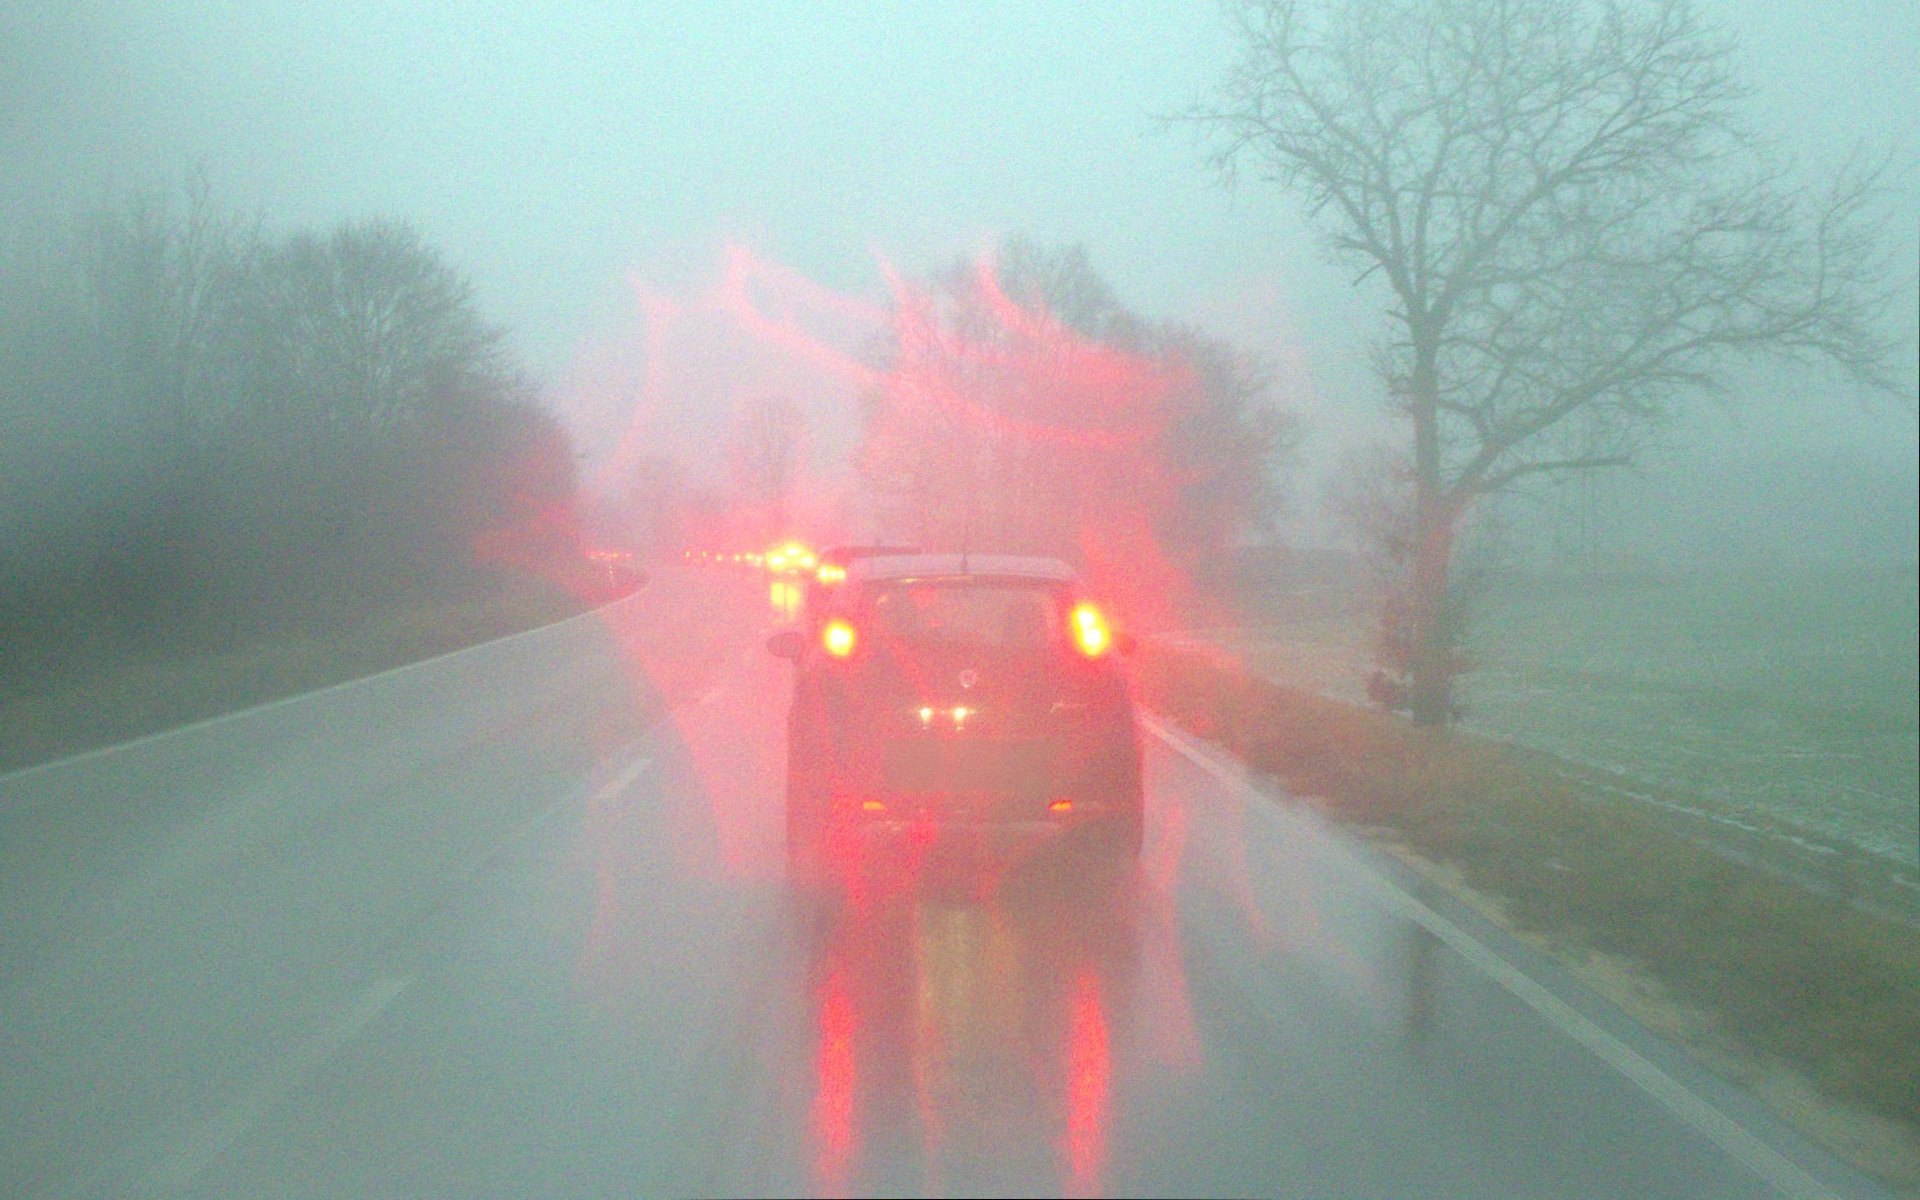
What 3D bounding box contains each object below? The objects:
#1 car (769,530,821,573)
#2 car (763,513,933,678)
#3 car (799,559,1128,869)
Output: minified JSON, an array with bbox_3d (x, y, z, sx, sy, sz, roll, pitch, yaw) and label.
[{"bbox_3d":[-6.711,-1.998,140.000,1.863,1.694,4.468,0,1,1],"label":"car"},{"bbox_3d":[-1.389,-0.086,44.166,1.852,2.007,4.000,1,1,3],"label":"car"},{"bbox_3d":[0.088,0.506,17.426,1.500,1.393,3.199,1,1,3],"label":"car"}]
